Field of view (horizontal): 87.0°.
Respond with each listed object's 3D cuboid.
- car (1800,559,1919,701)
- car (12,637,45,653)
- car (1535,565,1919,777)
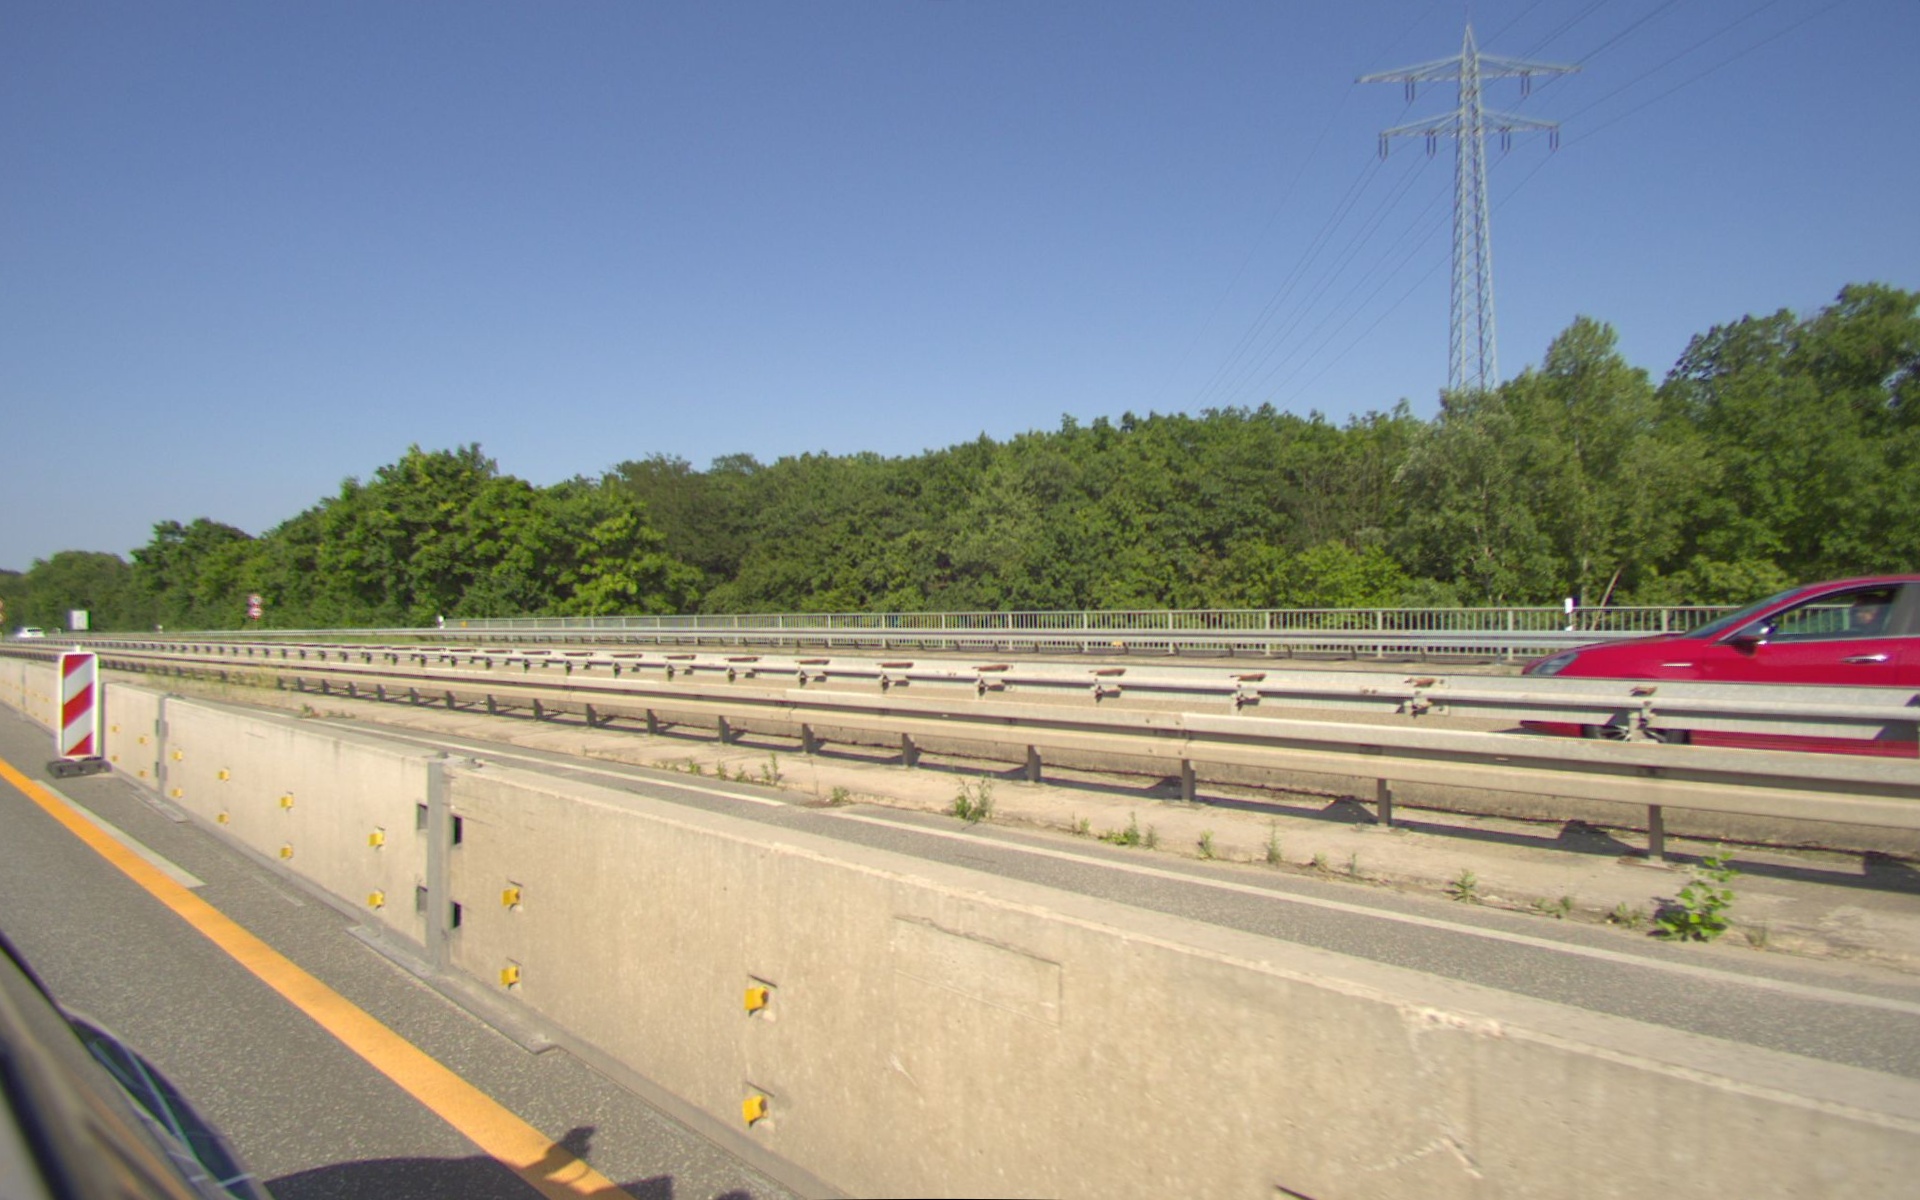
[{"bbox_3d":[10.951,0.289,9.940,4.123,1.403,1.759,-1,-2,41],"label":"car"},{"bbox_3d":[-86.452,4.180,93.870,4.549,1.349,1.722,-2,1,41],"label":"car"},{"bbox_3d":[6.810,0.470,7.469,4.218,1.407,1.697,-1,-1,40],"label":"car"}]
